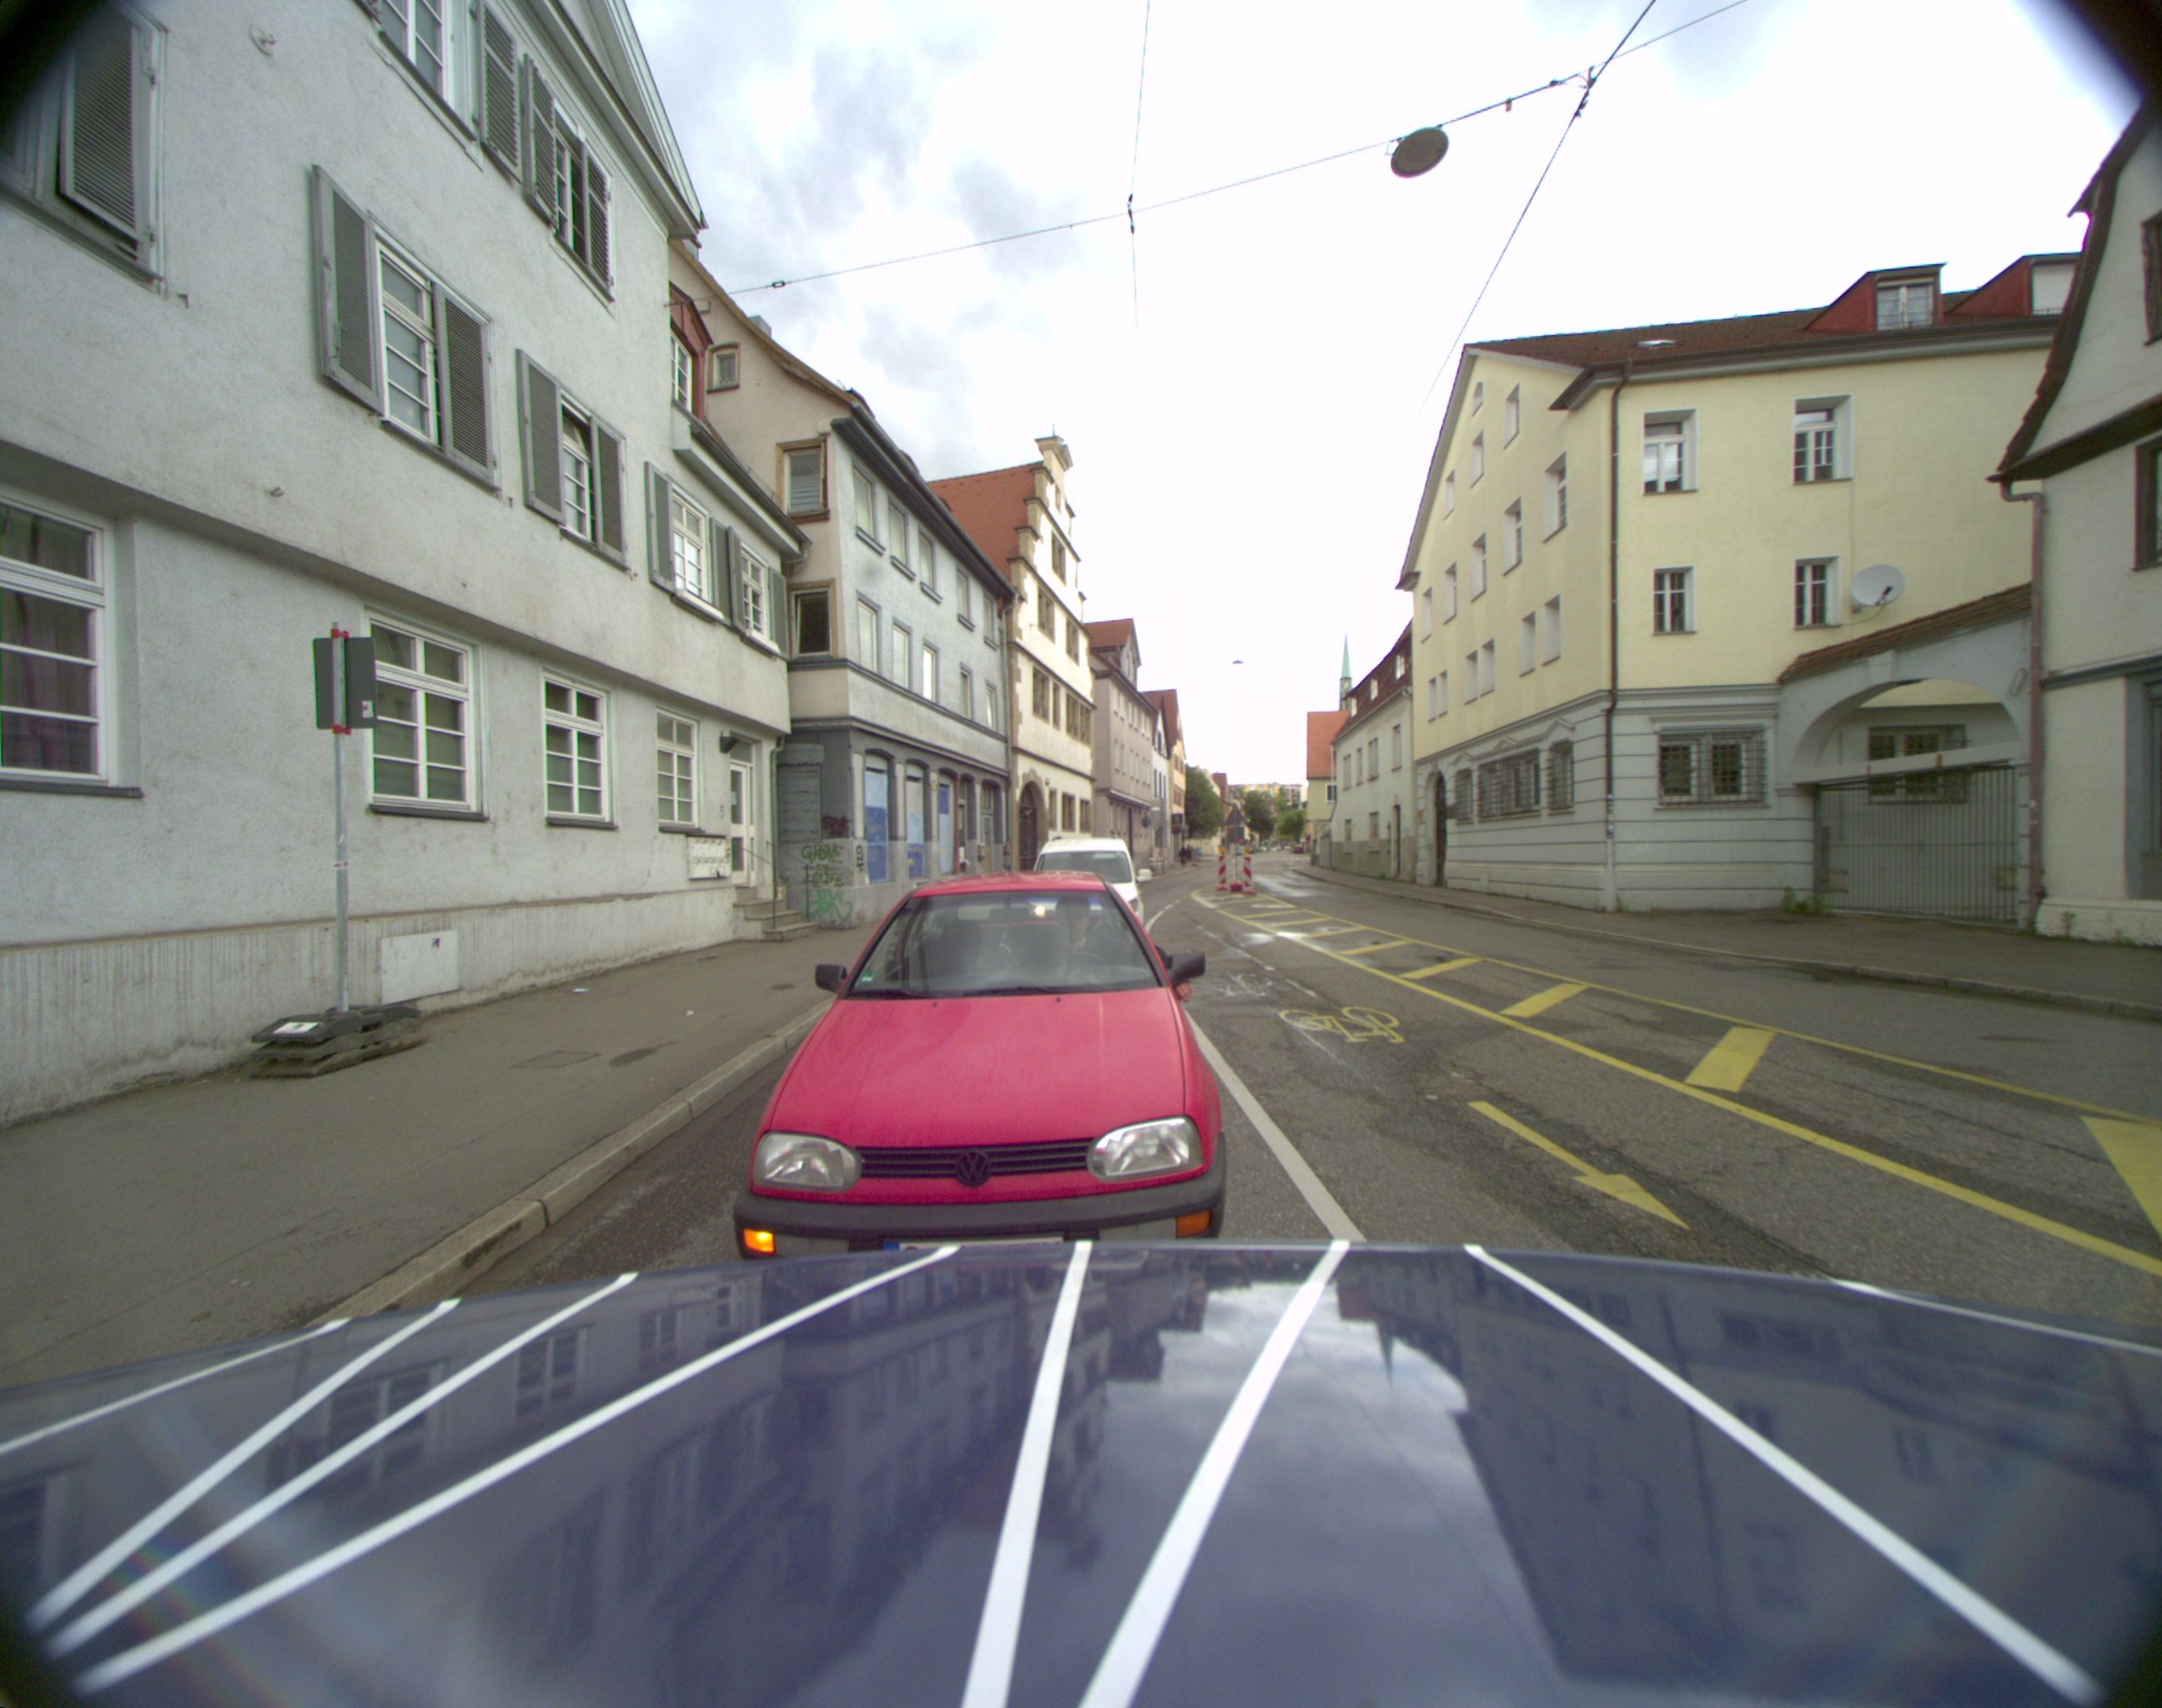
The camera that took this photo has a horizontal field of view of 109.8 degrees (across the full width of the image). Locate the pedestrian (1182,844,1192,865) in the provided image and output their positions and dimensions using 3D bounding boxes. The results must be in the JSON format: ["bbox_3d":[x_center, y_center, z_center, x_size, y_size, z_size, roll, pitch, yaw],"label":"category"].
[{"bbox_3d":[8.282,0.033,59.461,0.725,1.604,0.649,0,1,13],"label":"pedestrian"}]

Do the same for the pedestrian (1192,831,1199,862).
[{"bbox_3d":[9.617,-0.635,63.687,0.495,2.513,0.746,-1,1,12],"label":"pedestrian"}]

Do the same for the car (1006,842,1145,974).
[{"bbox_3d":[0.017,0.692,12.162,1.814,1.695,4.256,-1,1,2],"label":"car"}]

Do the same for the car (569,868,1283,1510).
[{"bbox_3d":[-0.300,0.912,3.938,1.792,1.418,3.999,-1,2,3],"label":"car"}]
